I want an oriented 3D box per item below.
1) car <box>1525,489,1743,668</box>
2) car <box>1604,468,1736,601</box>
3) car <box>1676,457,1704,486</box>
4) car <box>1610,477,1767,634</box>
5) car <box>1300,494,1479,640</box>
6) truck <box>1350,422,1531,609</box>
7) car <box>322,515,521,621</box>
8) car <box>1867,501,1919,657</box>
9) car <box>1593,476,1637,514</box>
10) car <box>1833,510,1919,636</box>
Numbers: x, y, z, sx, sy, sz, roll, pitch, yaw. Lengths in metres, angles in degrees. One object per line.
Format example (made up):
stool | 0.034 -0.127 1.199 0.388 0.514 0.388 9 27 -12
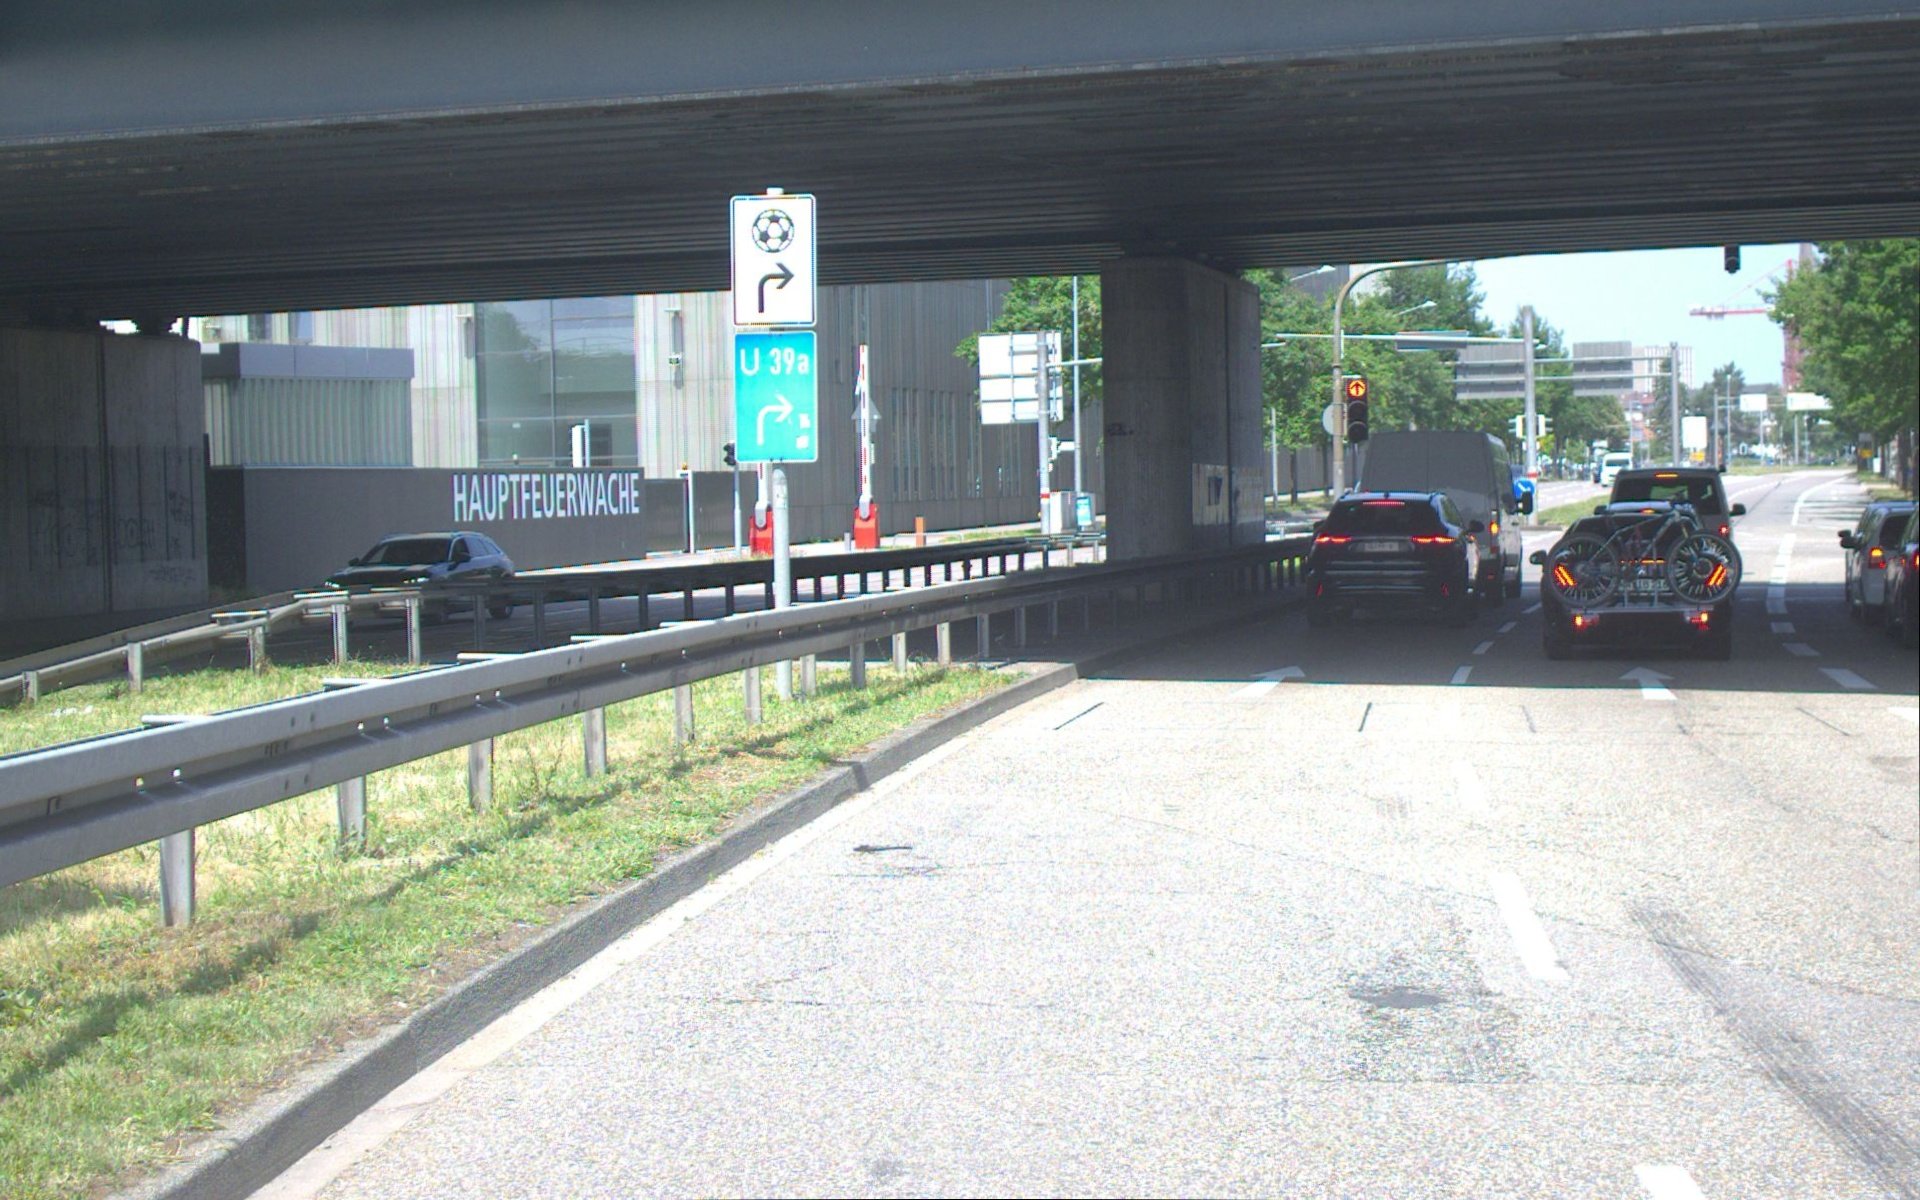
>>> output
car | 6.592 -0.245 33.508 1.958 1.628 4.278 0 1 12
car | 10.530 -0.974 51.192 1.841 1.883 3.998 0 1 11
car | 52.960 -9.316 249.415 1.994 2.007 3.998 0 1 12
car | 9.206 -0.572 43.661 1.841 1.883 3.998 0 1 11
car | 5.374 -0.421 42.662 1.941 1.715 3.998 0 1 11
truck | 7.005 -1.223 49.767 2.069 2.529 3.998 -2 1 15
car | -8.591 -0.529 55.185 1.855 1.617 3.998 0 1 12
car | 10.679 -0.253 36.271 1.841 1.563 3.998 0 1 11
car | 36.406 -5.837 191.077 1.995 2.007 3.997 -3 1 15
car | 11.950 -0.358 42.621 1.906 1.483 3.998 0 1 10
